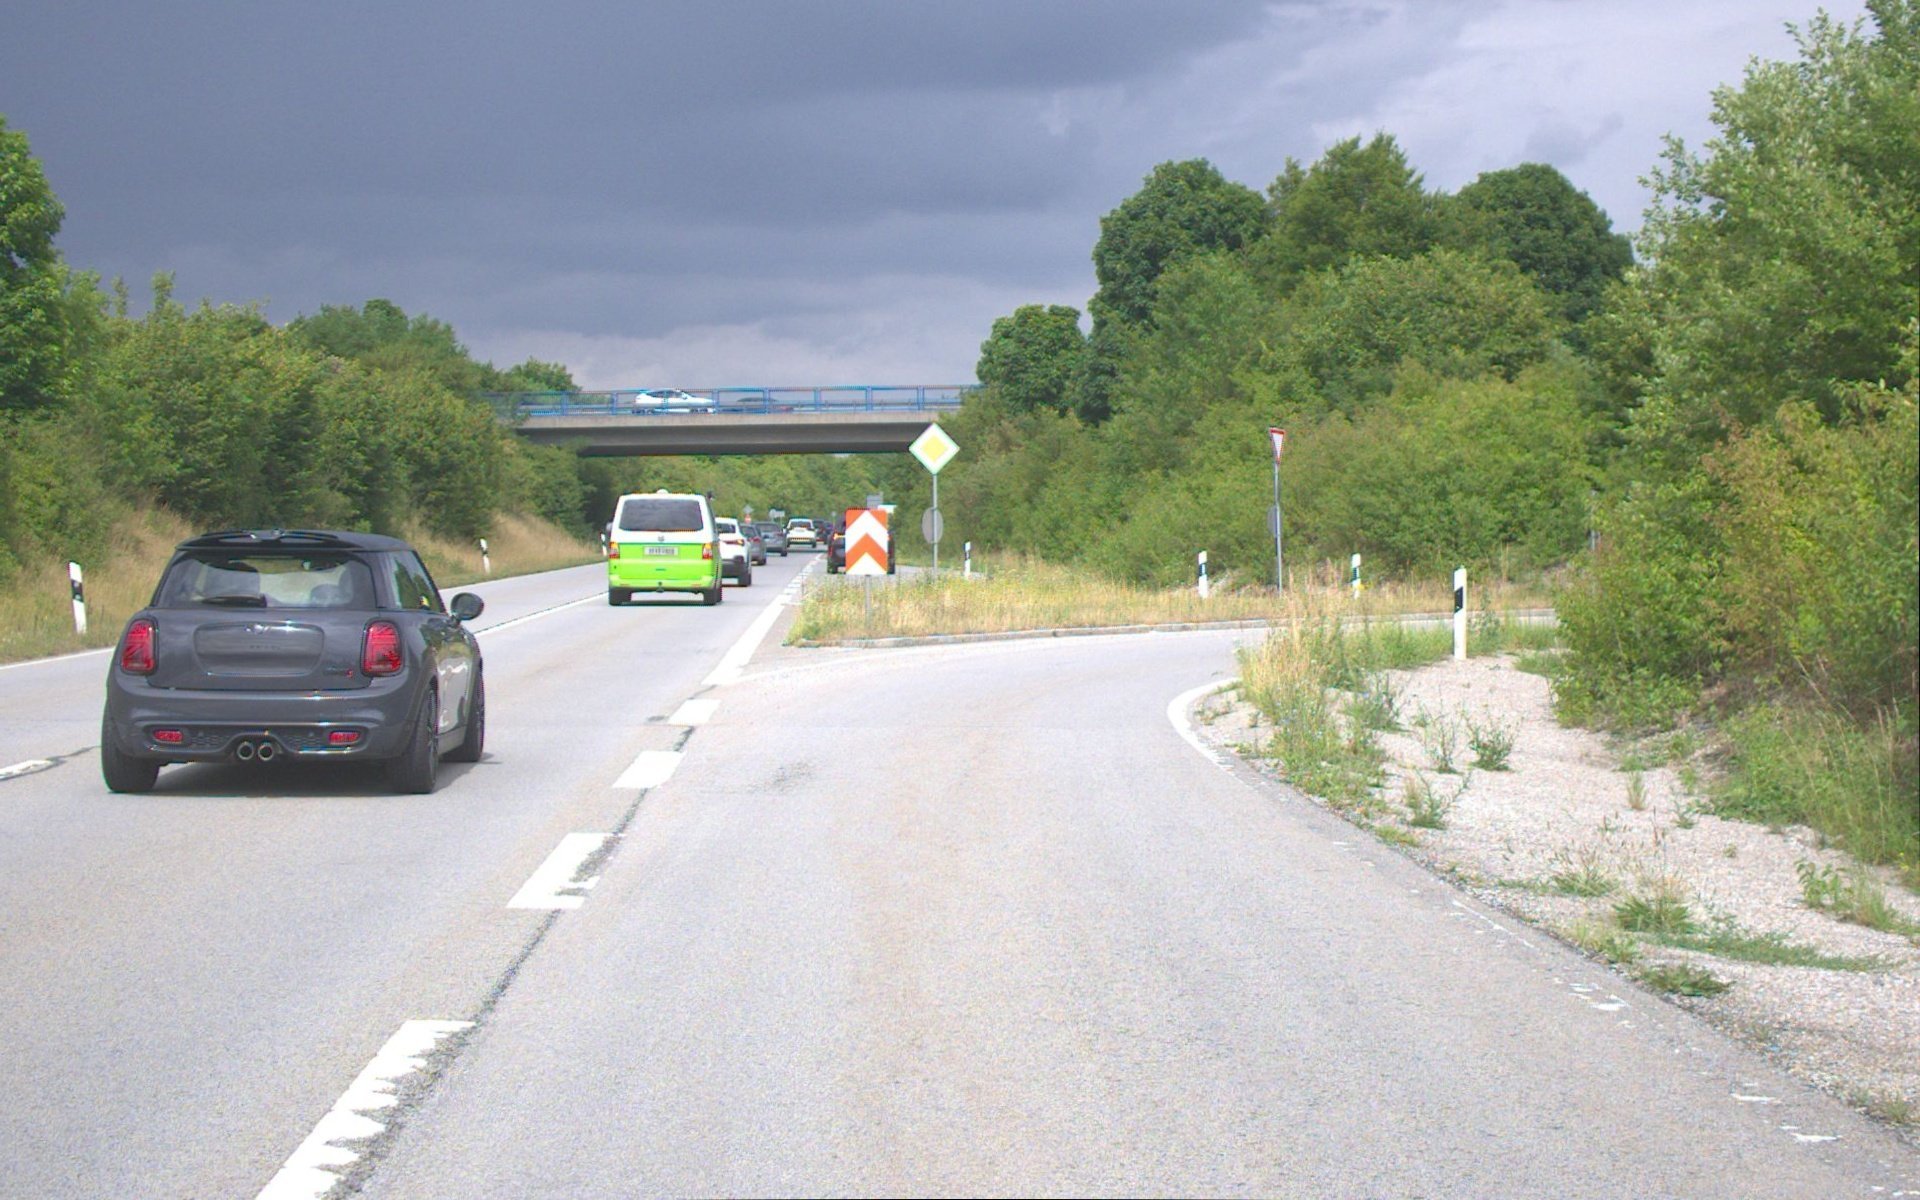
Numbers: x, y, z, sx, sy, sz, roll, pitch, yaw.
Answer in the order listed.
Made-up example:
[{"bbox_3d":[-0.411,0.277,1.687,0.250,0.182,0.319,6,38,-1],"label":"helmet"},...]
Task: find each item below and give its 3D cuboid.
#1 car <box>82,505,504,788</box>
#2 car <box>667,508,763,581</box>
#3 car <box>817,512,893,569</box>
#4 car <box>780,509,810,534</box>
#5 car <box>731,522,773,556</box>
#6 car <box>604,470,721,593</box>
[{"bbox_3d":[-3.702,0.194,19.716,1.756,1.422,4.001,1,1,-2],"label":"car"},{"bbox_3d":[-5.506,-1.268,77.596,1.993,1.546,4.001,1,1,-2],"label":"car"},{"bbox_3d":[-3.021,-1.724,98.538,1.993,1.546,4.001,1,1,-4],"label":"car"},{"bbox_3d":[-9.541,-4.546,198.910,1.667,1.398,4.001,1,1,-2],"label":"car"},{"bbox_3d":[-8.763,-2.582,145.164,1.667,1.398,4.001,1,1,-2],"label":"car"},{"bbox_3d":[-5.209,-1.218,60.678,1.819,2.047,4.001,1,1,-2],"label":"car"}]
